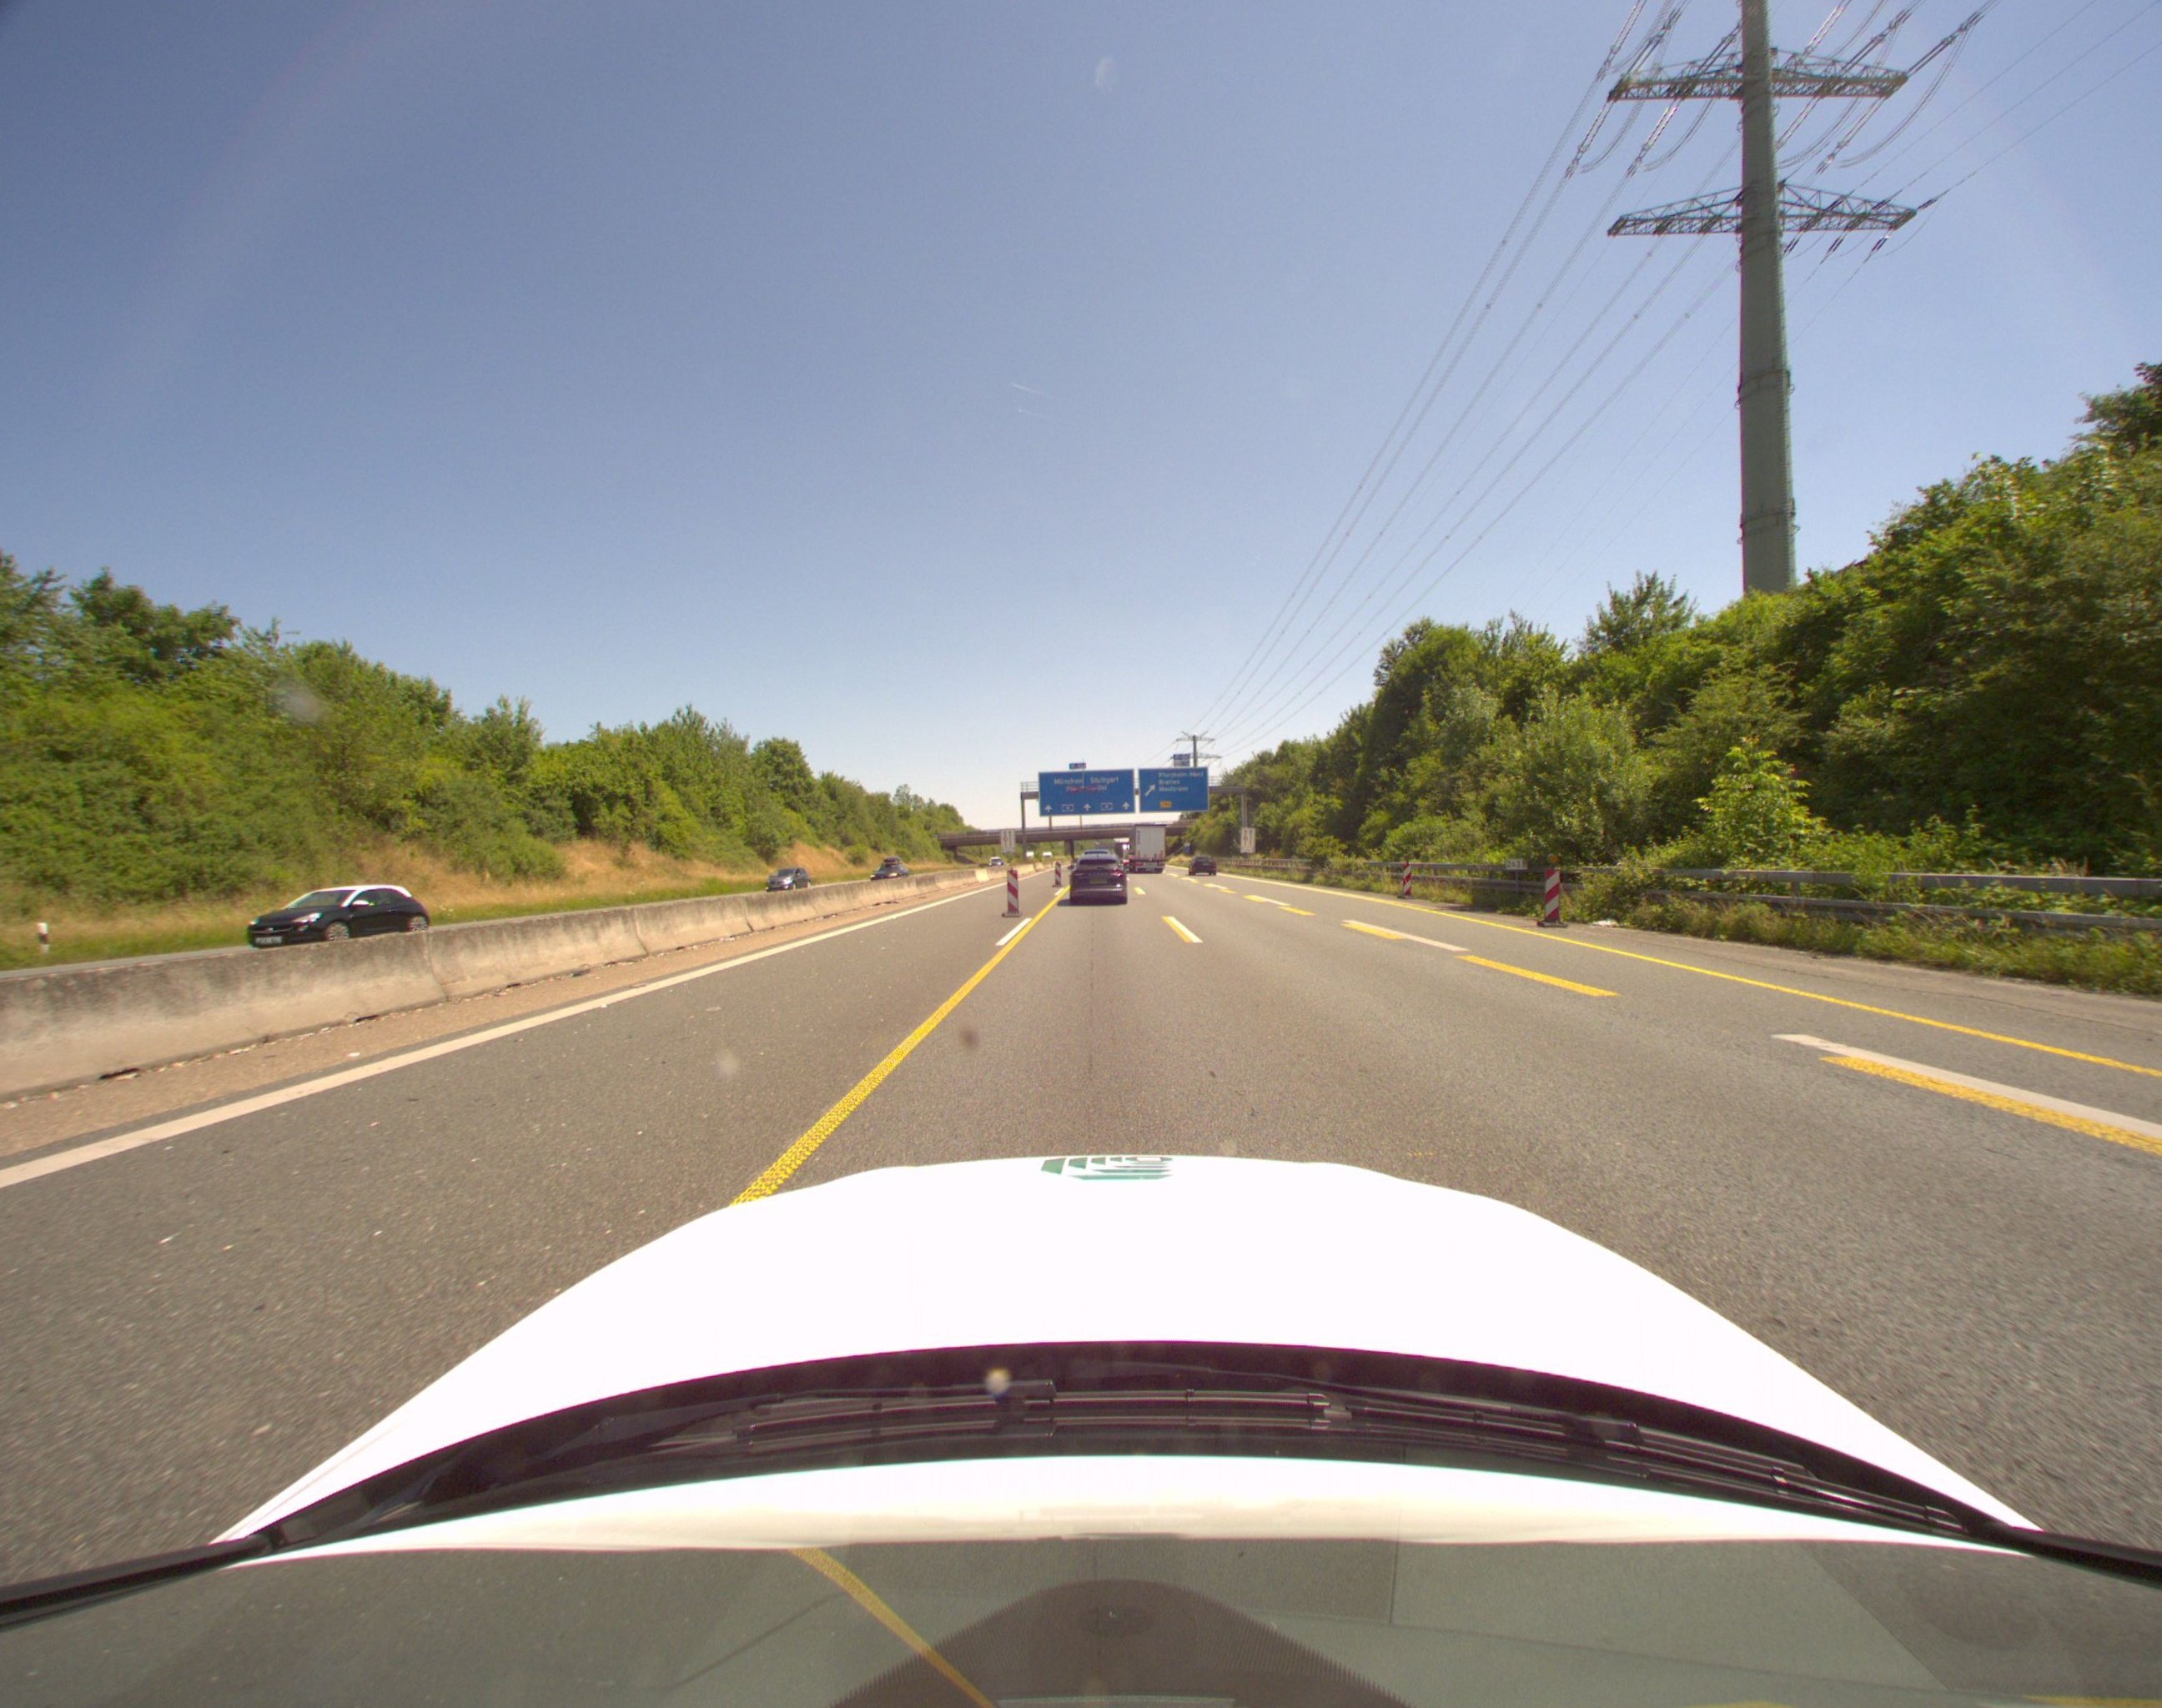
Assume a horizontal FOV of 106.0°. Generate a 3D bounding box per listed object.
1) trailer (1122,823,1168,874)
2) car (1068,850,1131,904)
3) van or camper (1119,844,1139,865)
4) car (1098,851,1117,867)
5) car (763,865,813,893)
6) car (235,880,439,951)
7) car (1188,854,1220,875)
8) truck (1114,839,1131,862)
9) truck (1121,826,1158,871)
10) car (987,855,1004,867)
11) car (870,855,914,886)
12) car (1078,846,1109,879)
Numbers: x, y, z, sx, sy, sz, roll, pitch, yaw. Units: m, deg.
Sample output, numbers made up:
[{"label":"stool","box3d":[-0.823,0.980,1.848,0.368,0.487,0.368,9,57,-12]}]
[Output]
[{"label":"trailer","box3d":[5.485,-0.473,71.496,3.055,4.042,11.486,-1,0,0]},{"label":"car","box3d":[0.579,0.695,27.079,1.889,1.592,4.442,-1,0,0]},{"label":"van or camper","box3d":[6.806,0.055,116.076,2.576,2.968,6.088,-1,0,2]},{"label":"car","box3d":[2.819,0.526,88.064,1.889,1.509,4.443,1,2,0]},{"label":"car","box3d":[-18.034,1.510,50.323,1.494,1.548,4.002,-2,0,2]},{"label":"car","box3d":[-18.542,1.474,20.562,1.568,1.464,3.780,-2,0,2]},{"label":"car","box3d":[9.086,0.771,60.557,1.773,1.489,4.465,0,0,1]},{"label":"truck","box3d":[7.819,-0.549,152.730,3.065,4.146,13.062,0,0,3]},{"label":"truck","box3d":[5.513,-0.500,78.303,3.015,4.087,7.794,-1,0,0]},{"label":"car","box3d":[-12.496,1.062,119.016,1.906,1.753,4.566,0,0,1]},{"label":"car","box3d":[-12.127,1.012,52.522,1.736,1.818,4.621,-2,0,0]},{"label":"car","box3d":[0.799,0.522,52.645,1.889,1.841,4.444,1,2,0]}]
